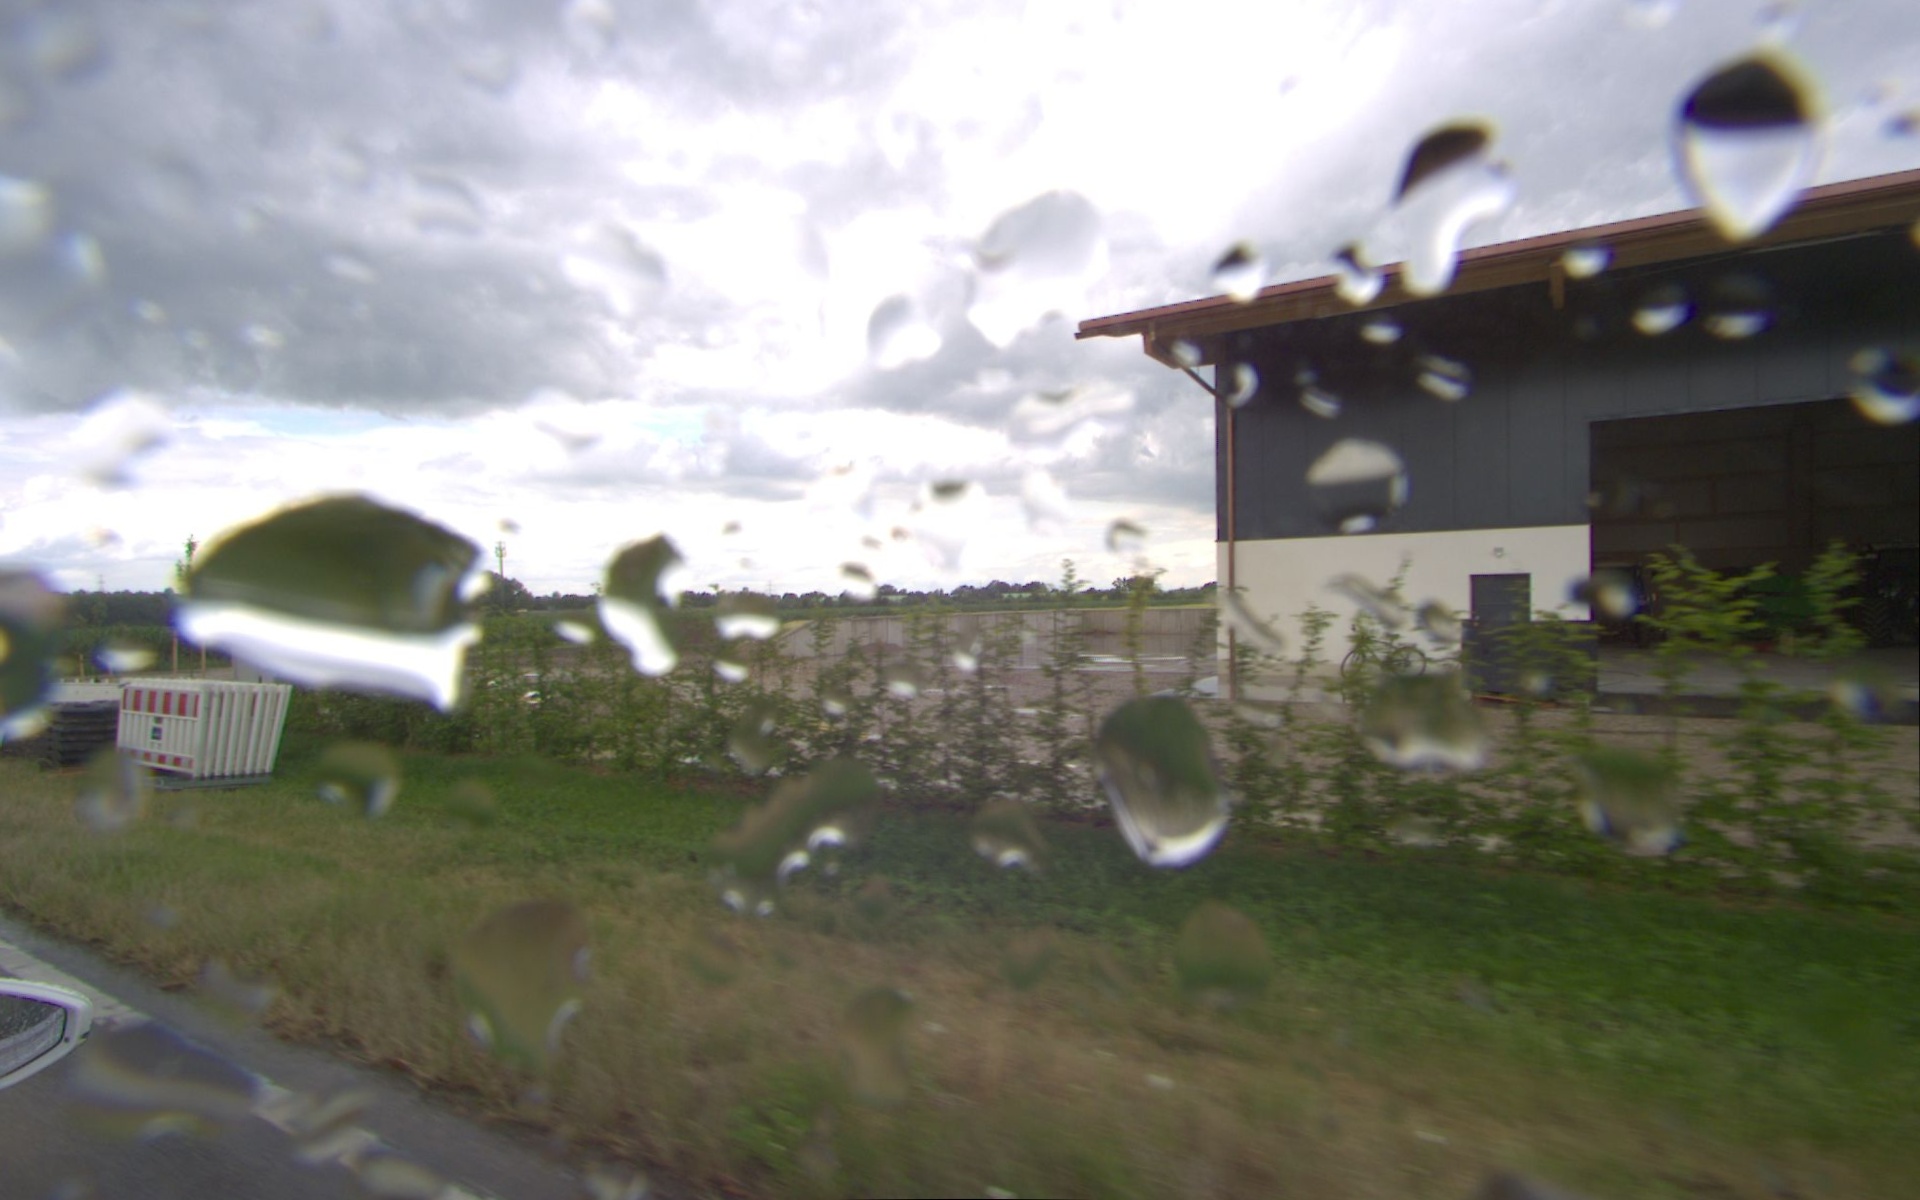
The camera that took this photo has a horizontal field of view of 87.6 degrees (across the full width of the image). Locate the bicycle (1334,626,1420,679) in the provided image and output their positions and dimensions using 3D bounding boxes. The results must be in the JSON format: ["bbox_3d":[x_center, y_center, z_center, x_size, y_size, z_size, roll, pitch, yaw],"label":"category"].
[{"bbox_3d":[8.862,1.110,21.290,1.637,1.086,0.389,-1,1,33],"label":"bicycle"}]

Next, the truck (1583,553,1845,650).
[{"bbox_3d":[22.211,0.091,29.915,6.069,2.642,2.112,-1,0,33],"label":"truck"}]
